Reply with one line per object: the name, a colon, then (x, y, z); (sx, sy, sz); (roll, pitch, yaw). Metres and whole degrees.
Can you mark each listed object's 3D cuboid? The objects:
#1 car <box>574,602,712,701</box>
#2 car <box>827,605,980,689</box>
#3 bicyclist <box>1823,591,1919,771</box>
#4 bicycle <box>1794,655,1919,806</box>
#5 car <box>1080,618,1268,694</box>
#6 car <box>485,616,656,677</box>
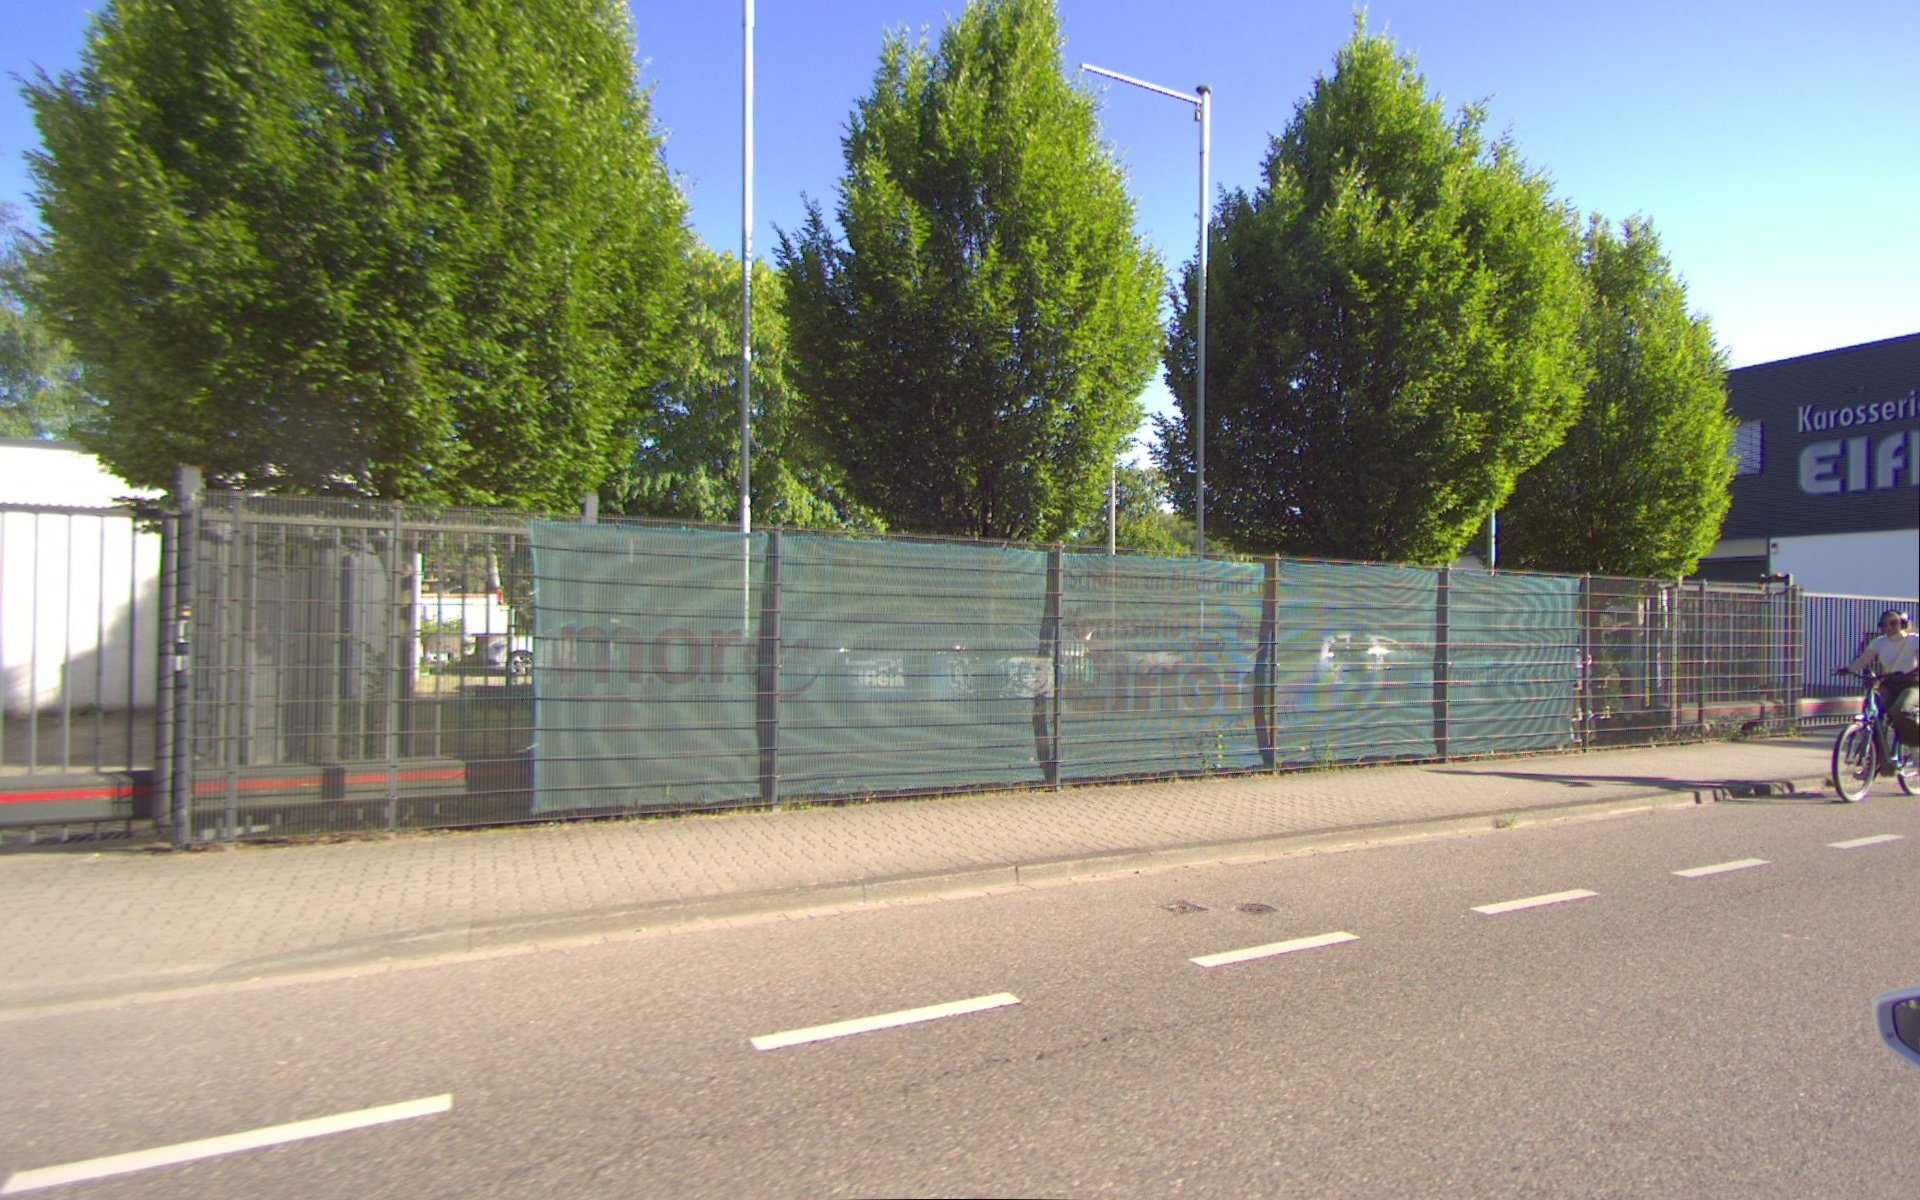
car: (-5.794, 0.895, 18.065); (1.850, 1.560, 3.975); (1, -2, -25)
car: (-1.278, 0.963, 20.934); (1.850, 1.560, 3.975); (1, -2, -25)
bicyclist: (8.991, 0.758, 9.704); (0.823, 1.649, 0.743); (1, -1, -28)
bicycle: (8.982, 1.198, 9.706); (2.145, 1.305, 0.664); (1, -1, -28)
car: (4.904, 1.255, 22.969); (3.950, 1.612, 1.862); (1, -2, -28)
car: (-9.943, 1.182, 25.758); (3.944, 1.476, 1.772); (1, -2, -24)
